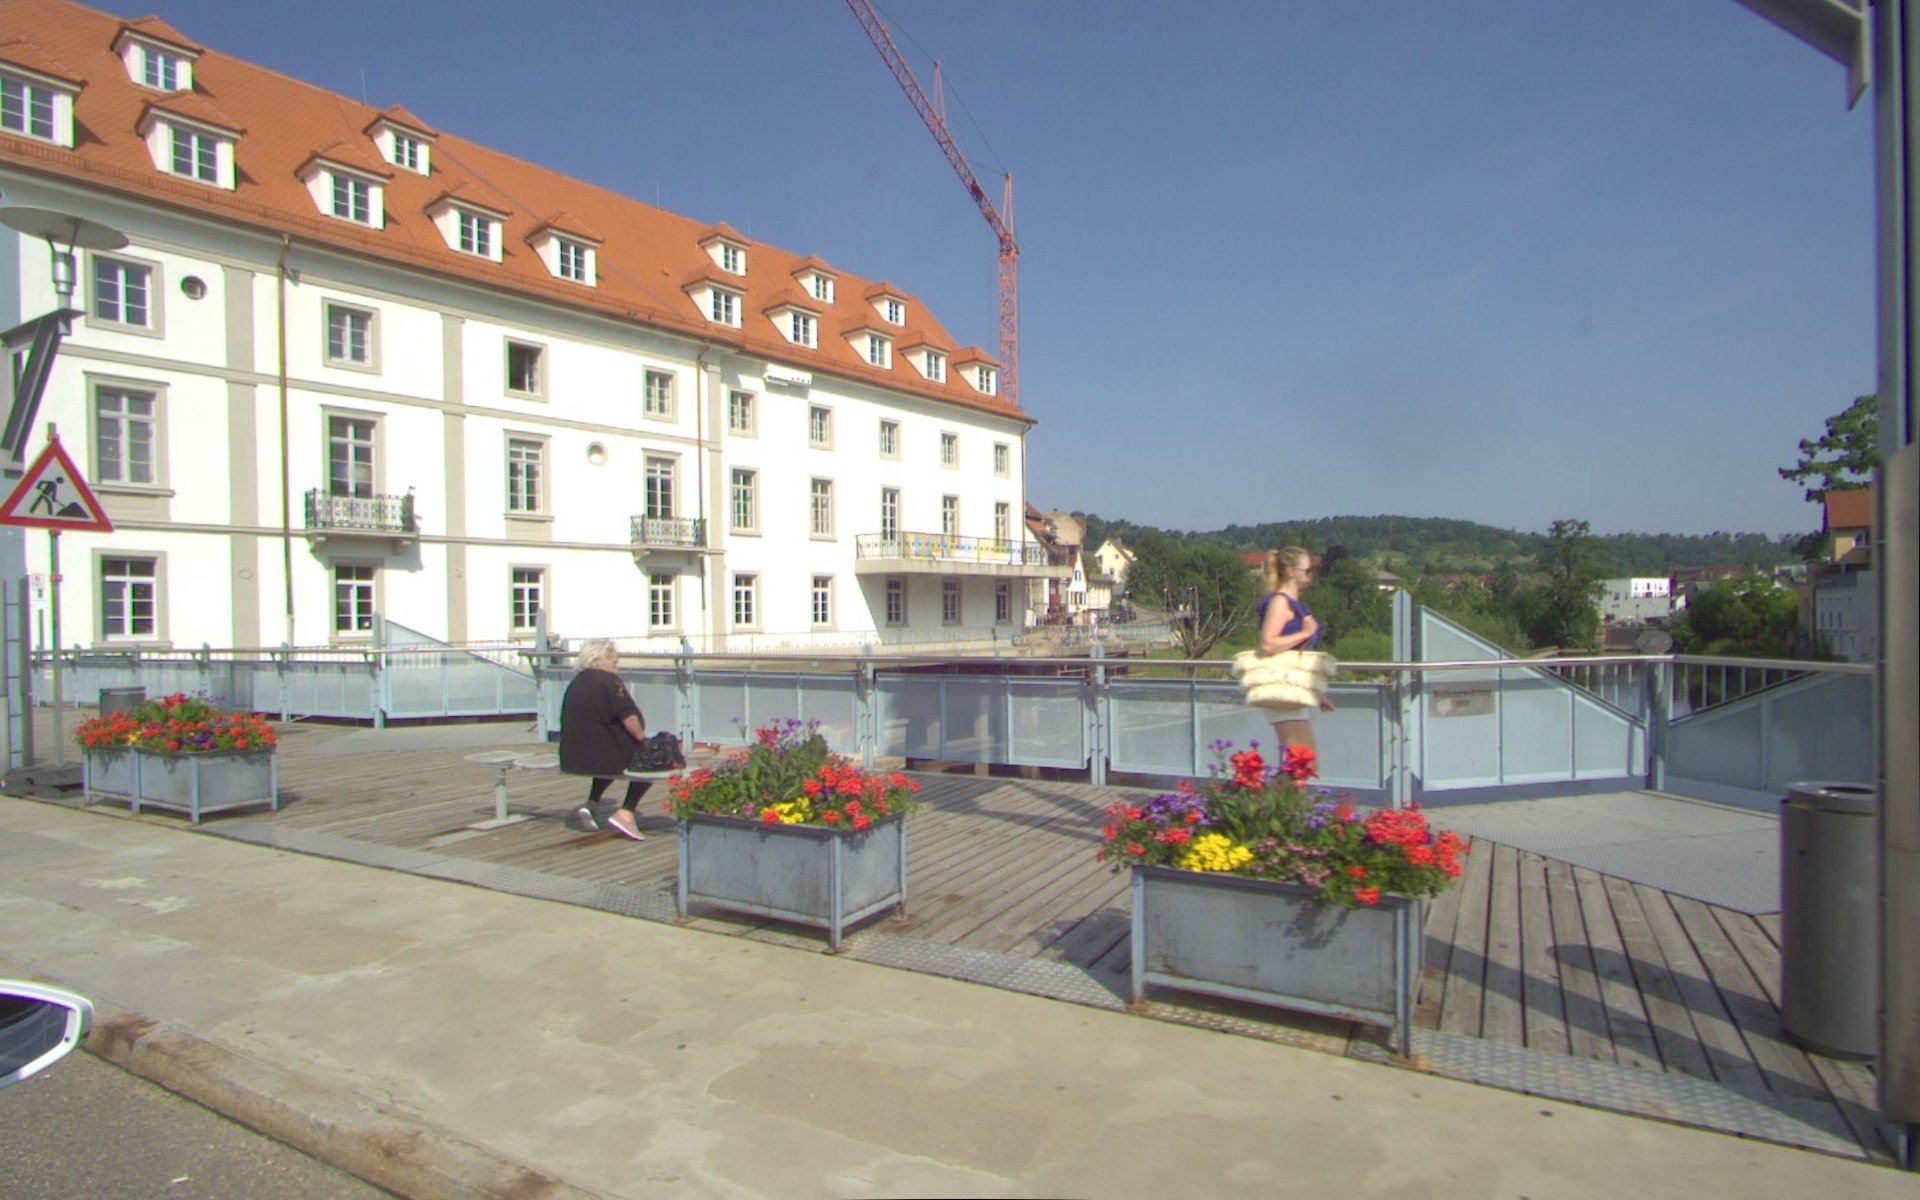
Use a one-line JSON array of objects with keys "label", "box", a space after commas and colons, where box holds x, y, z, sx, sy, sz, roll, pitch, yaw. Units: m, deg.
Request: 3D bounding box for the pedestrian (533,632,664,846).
[{"label": "pedestrian", "box": [-2.255, 0.836, 6.262, 0.616, 1.260, 0.451, -1, 0, 25]}]

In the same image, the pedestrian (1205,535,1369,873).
[{"label": "pedestrian", "box": [1.864, 0.545, 5.678, 0.736, 1.746, 0.724, 0, 0, 31]}]
